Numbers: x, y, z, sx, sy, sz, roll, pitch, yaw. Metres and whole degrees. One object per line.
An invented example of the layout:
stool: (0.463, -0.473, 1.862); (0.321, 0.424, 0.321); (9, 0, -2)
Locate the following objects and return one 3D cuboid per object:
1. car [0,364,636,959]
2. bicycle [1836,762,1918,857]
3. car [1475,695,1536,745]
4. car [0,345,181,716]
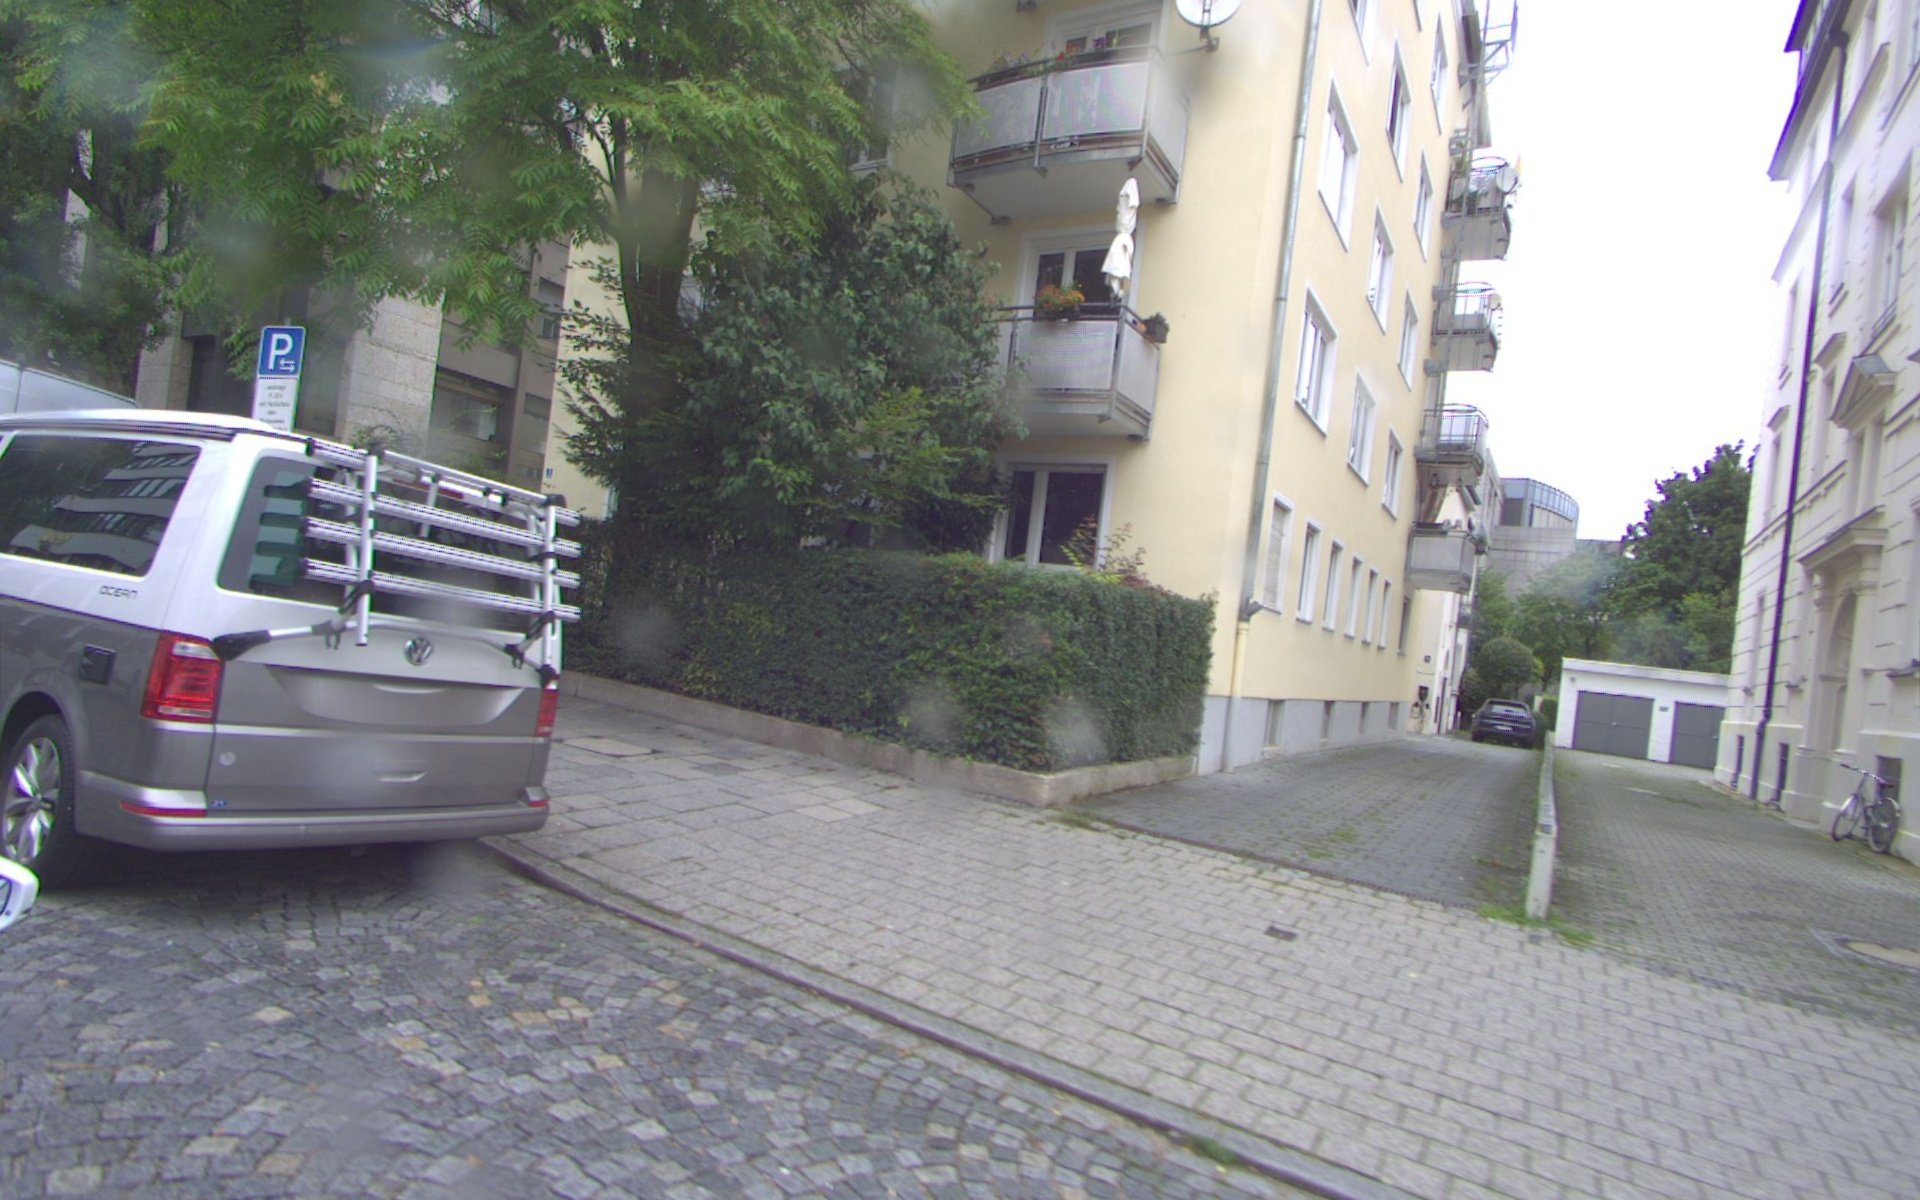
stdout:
car: (-4.195, 0.087, 5.314); (4.779, 1.970, 1.806); (6, -4, 31)
bicycle: (11.522, 2.609, 12.675); (0.408, 0.997, 1.481); (6, -2, 32)
car: (19.954, 4.353, 36.815); (1.728, 1.516, 3.473); (6, -2, 29)
car: (-8.929, -0.786, 8.190); (5.516, 2.451, 1.902); (7, -4, 31)
